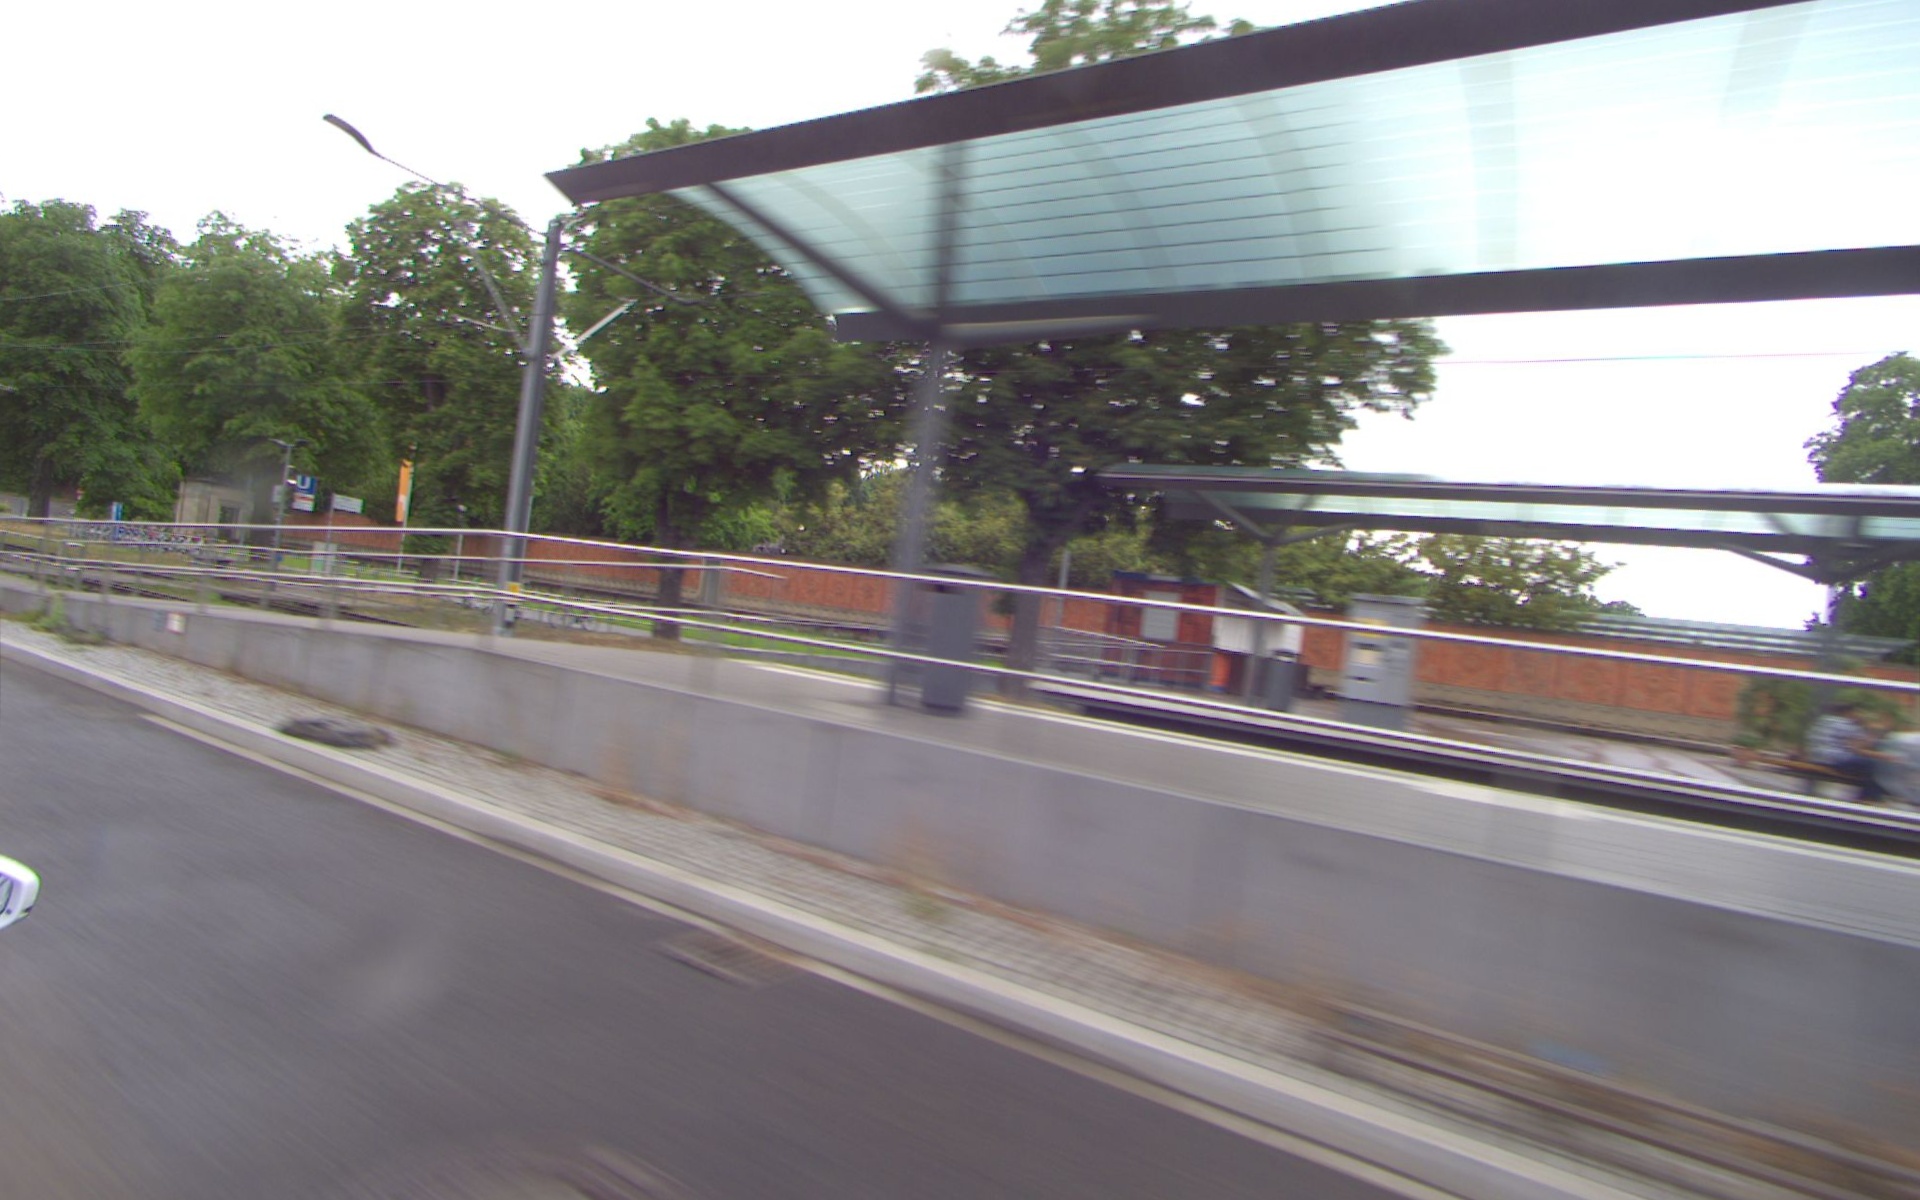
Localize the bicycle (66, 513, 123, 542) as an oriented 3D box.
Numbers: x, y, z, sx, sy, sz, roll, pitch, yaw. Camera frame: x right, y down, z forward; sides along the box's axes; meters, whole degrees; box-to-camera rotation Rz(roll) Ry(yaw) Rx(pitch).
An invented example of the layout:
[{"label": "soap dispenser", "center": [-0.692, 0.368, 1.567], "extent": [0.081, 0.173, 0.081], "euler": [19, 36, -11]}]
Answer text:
[{"label": "bicycle", "center": [-40.044, -3.336, 46.544], "extent": [0.641, 1.044, 1.814], "euler": [7, -1, 29]}]

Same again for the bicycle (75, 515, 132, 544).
[{"label": "bicycle", "center": [-39.283, -3.239, 46.139], "extent": [0.641, 1.044, 1.814], "euler": [7, -1, 29]}]

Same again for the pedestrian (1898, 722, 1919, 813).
[{"label": "pedestrian", "center": [11.347, 1.972, 11.651], "extent": [0.542, 1.021, 0.437], "euler": [7, 0, 32]}]

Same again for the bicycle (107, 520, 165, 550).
[{"label": "bicycle", "center": [-36.616, -2.896, 44.741], "extent": [0.641, 1.044, 1.814], "euler": [7, -1, 29]}]

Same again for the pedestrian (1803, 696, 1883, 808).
[{"label": "pedestrian", "center": [10.621, 1.809, 12.114], "extent": [0.542, 1.241, 0.437], "euler": [7, 0, 32]}]

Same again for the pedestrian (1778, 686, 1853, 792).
[{"label": "pedestrian", "center": [10.822, 1.741, 12.741], "extent": [0.542, 1.241, 0.437], "euler": [7, 0, 32]}]

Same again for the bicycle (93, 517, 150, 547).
[{"label": "bicycle", "center": [-37.760, -3.043, 45.317], "extent": [0.641, 1.044, 1.814], "euler": [7, -1, 29]}]

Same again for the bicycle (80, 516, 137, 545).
[{"label": "bicycle", "center": [-38.601, -3.153, 45.619], "extent": [0.641, 1.044, 1.814], "euler": [7, -1, 29]}]

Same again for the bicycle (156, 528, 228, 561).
[{"label": "bicycle", "center": [-31.850, -2.285, 41.753], "extent": [0.677, 1.044, 2.227], "euler": [7, -1, 29]}]

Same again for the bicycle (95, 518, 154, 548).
[{"label": "bicycle", "center": [-37.251, -2.980, 44.865], "extent": [0.641, 1.044, 1.838], "euler": [7, -1, 29]}]

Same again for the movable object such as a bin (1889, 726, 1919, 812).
[{"label": "movable object such as a bin", "center": [12.039, 2.124, 12.426], "extent": [0.670, 1.021, 0.437], "euler": [7, 0, 32]}]

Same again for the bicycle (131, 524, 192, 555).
[{"label": "bicycle", "center": [-34.098, -2.577, 42.977], "extent": [0.641, 1.044, 1.850], "euler": [7, -1, 29]}]

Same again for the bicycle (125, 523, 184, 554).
[{"label": "bicycle", "center": [-34.729, -2.650, 43.398], "extent": [0.641, 1.044, 1.814], "euler": [7, -1, 29]}]

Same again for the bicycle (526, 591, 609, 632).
[{"label": "bicycle", "center": [-11.270, 0.342, 28.969], "extent": [0.560, 0.968, 2.326], "euler": [7, -1, 29]}]

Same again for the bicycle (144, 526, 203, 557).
[{"label": "bicycle", "center": [-33.328, -2.480, 42.655], "extent": [0.641, 1.044, 1.814], "euler": [7, -1, 29]}]

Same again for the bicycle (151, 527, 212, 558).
[{"label": "bicycle", "center": [-32.670, -2.397, 42.240], "extent": [0.641, 1.044, 1.814], "euler": [7, -1, 29]}]

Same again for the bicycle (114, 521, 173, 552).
[{"label": "bicycle", "center": [-35.436, -2.757, 43.684], "extent": [0.641, 1.047, 1.814], "euler": [7, -1, 29]}]

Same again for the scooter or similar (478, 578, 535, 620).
[{"label": "scooter or similar", "center": [-14.016, -0.020, 31.100], "extent": [0.424, 1.150, 1.546], "euler": [7, 0, 30]}]
